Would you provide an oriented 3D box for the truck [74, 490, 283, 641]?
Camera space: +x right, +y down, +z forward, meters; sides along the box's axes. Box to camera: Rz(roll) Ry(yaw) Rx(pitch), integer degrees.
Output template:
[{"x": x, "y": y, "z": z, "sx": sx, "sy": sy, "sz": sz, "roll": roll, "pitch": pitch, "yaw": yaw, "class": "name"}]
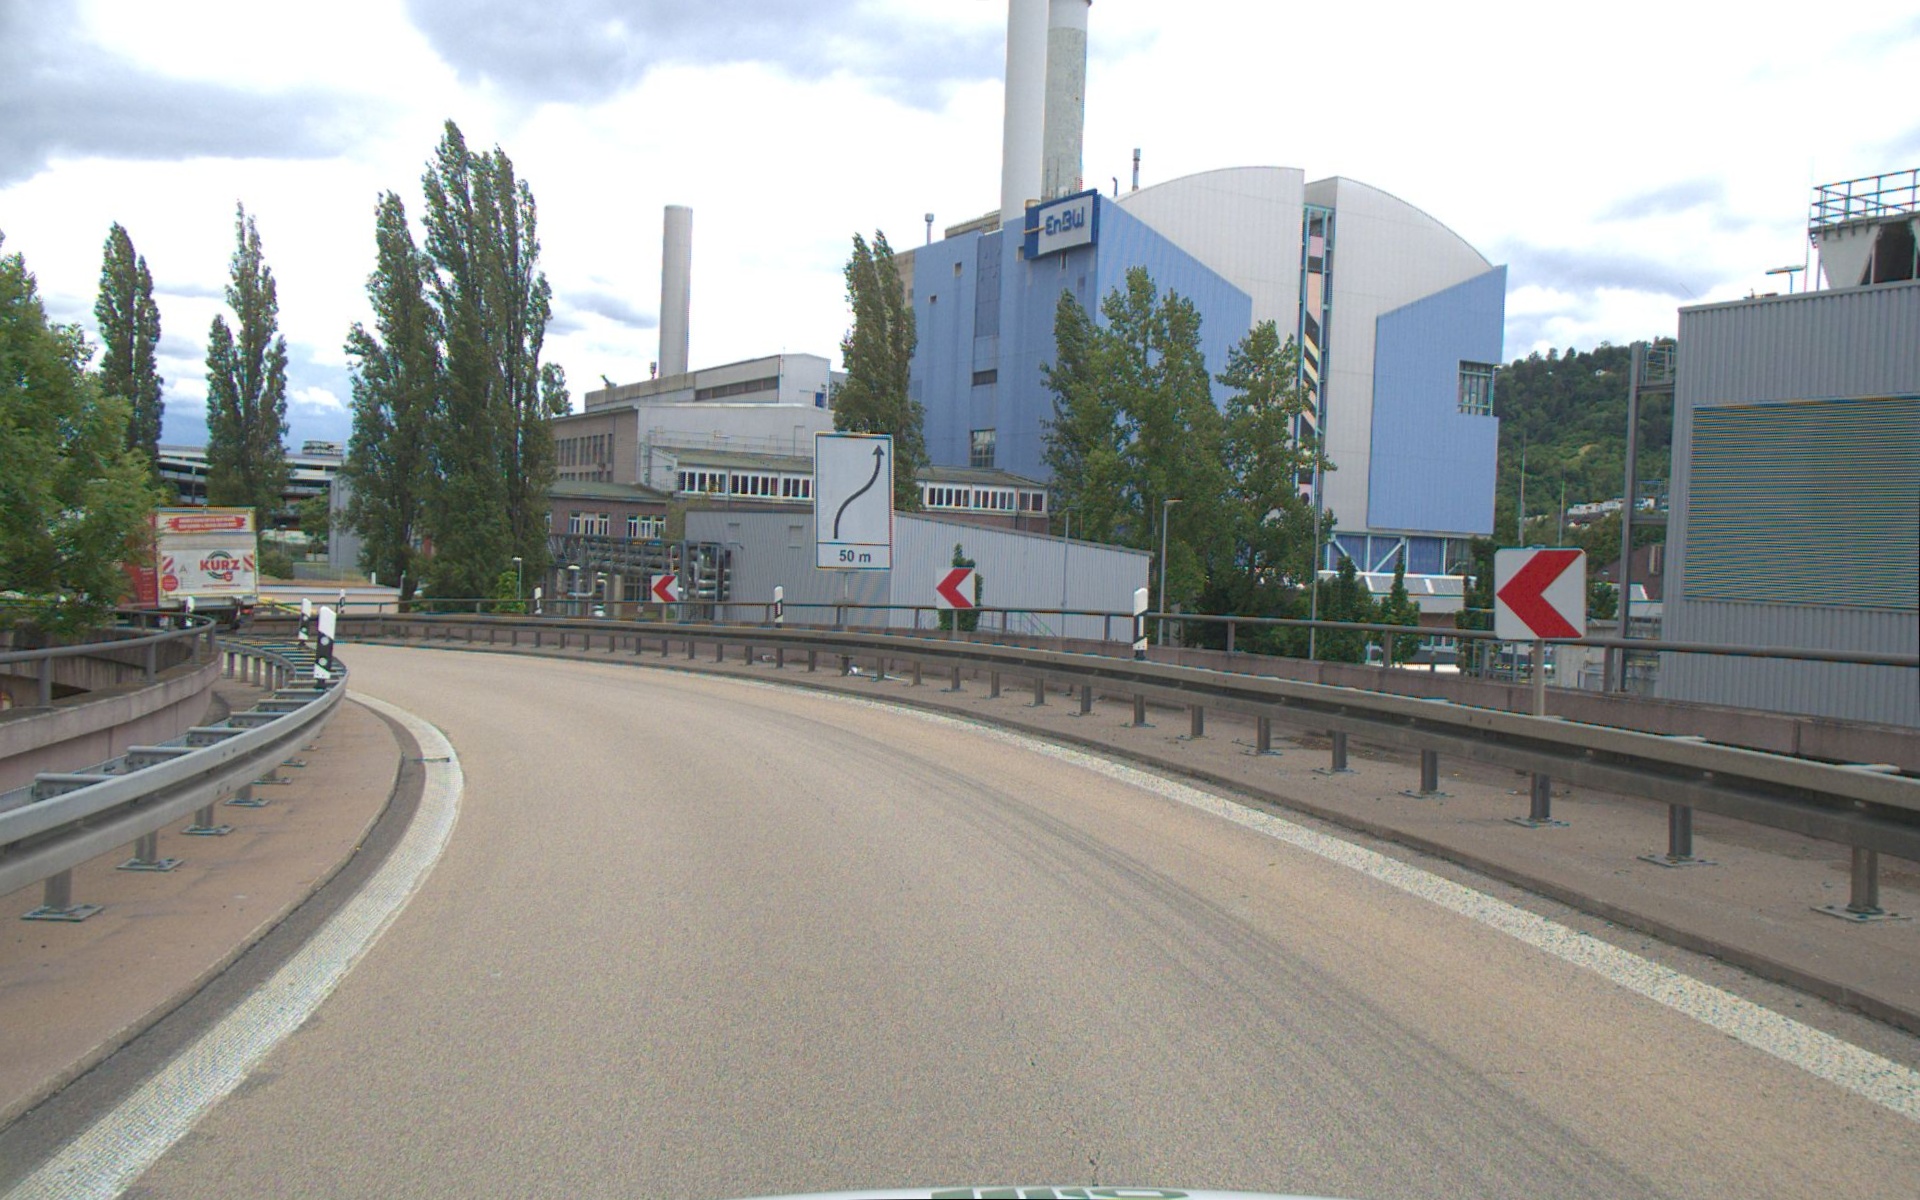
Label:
[{"x": -21.344, "y": -0.975, "z": 44.919, "sx": 3.034, "sy": 3.737, "sz": 7.808, "roll": 2, "pitch": 1, "yaw": -41, "class": "truck"}]
